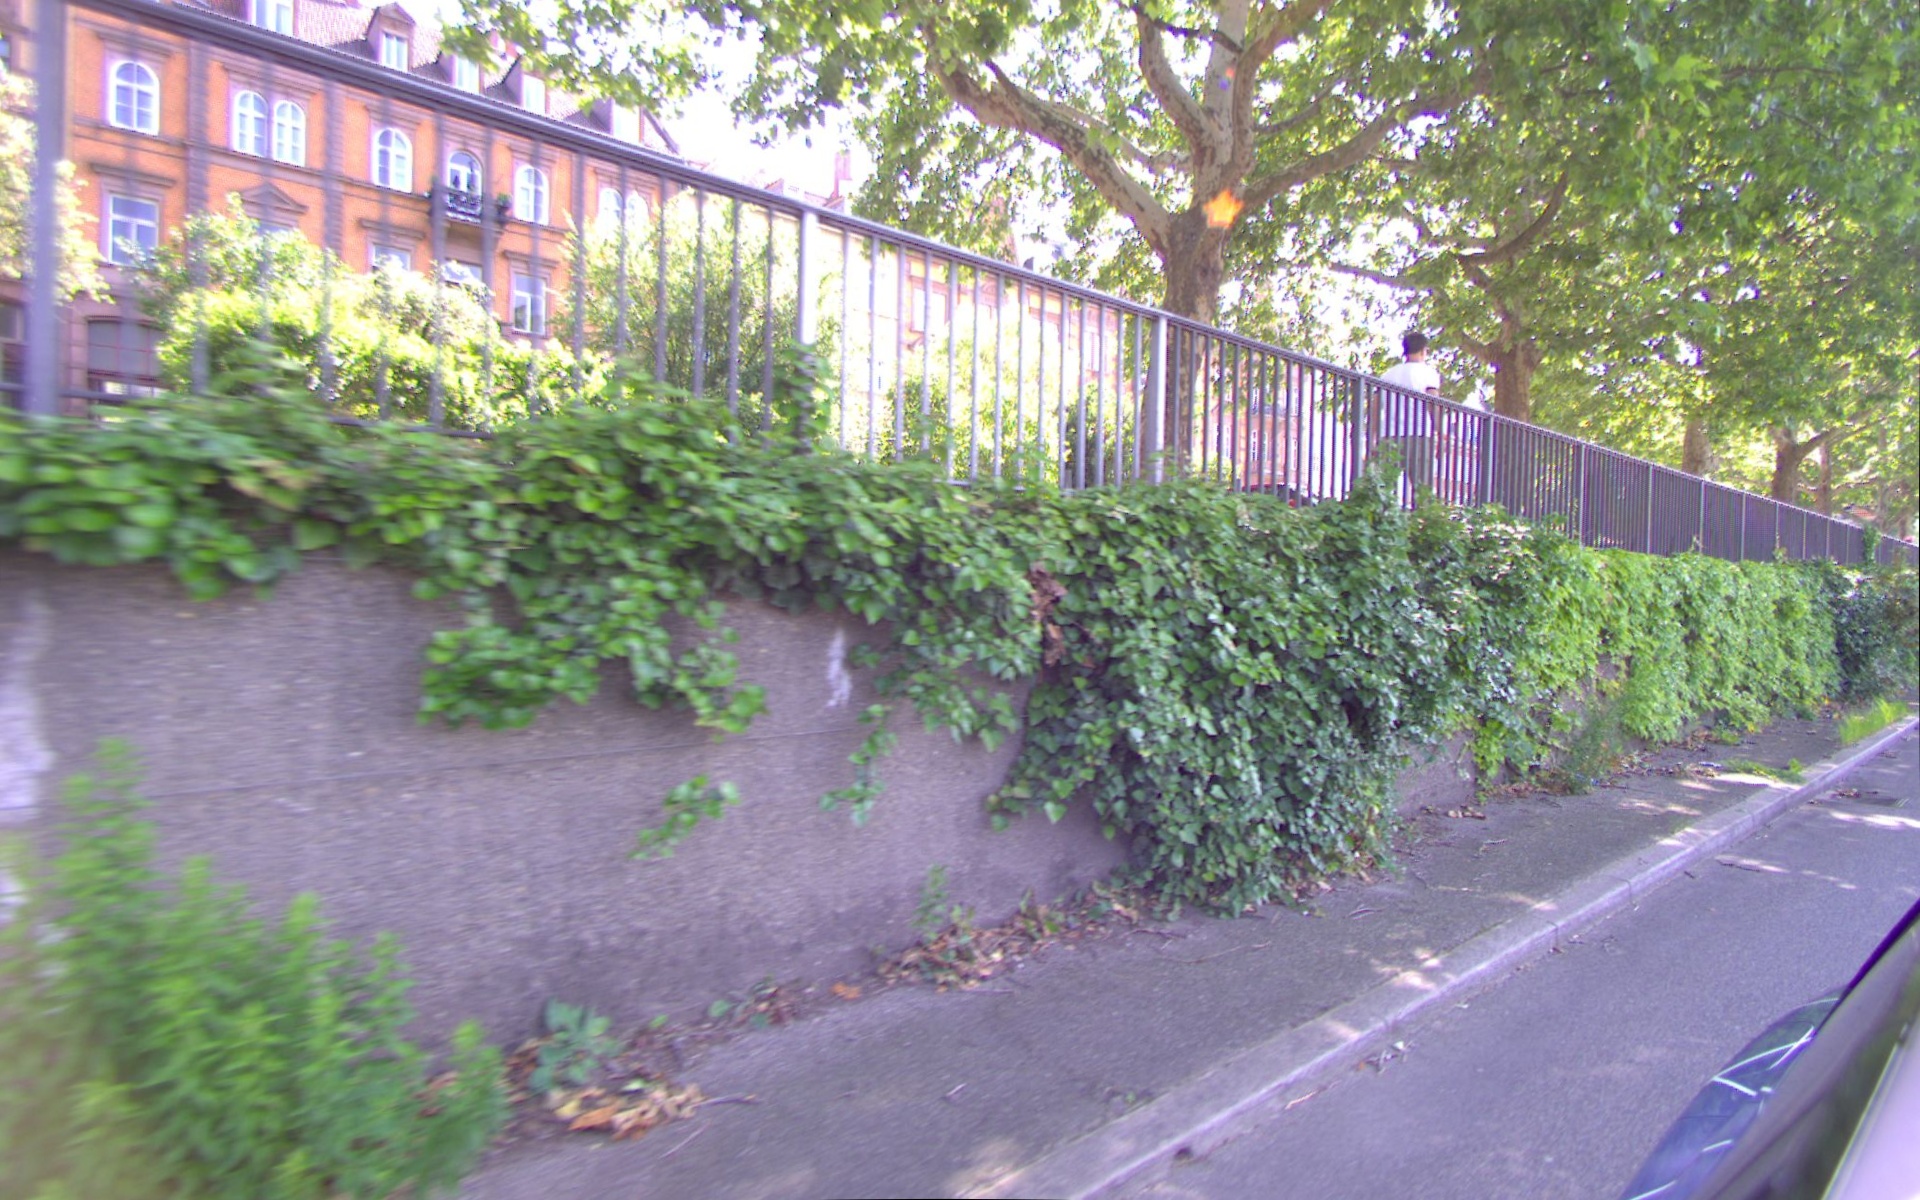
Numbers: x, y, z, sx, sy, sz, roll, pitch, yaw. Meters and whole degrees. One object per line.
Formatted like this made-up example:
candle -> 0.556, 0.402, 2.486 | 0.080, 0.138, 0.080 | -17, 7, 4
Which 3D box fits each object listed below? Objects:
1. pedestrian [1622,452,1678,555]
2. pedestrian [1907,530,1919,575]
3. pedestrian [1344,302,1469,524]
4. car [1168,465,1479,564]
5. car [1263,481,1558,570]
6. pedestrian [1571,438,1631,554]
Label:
pedestrian -> 10.061, -1.382, 14.760 | 0.584, 1.437, 0.580 | 2, 1, 42
pedestrian -> 27.543, -1.346, 28.843 | 0.729, 1.259, 0.712 | 1, 1, -41
pedestrian -> 3.552, -1.437, 8.060 | 0.639, 1.611, 0.666 | 1, 1, -41
car -> 4.911, -1.095, 14.031 | 1.623, 1.129, 3.735 | 1, 1, -43
car -> 6.658, -1.042, 15.246 | 1.622, 1.129, 3.737 | 1, 1, -41
pedestrian -> 9.587, -1.528, 15.137 | 0.646, 1.660, 0.617 | 2, 1, 42
